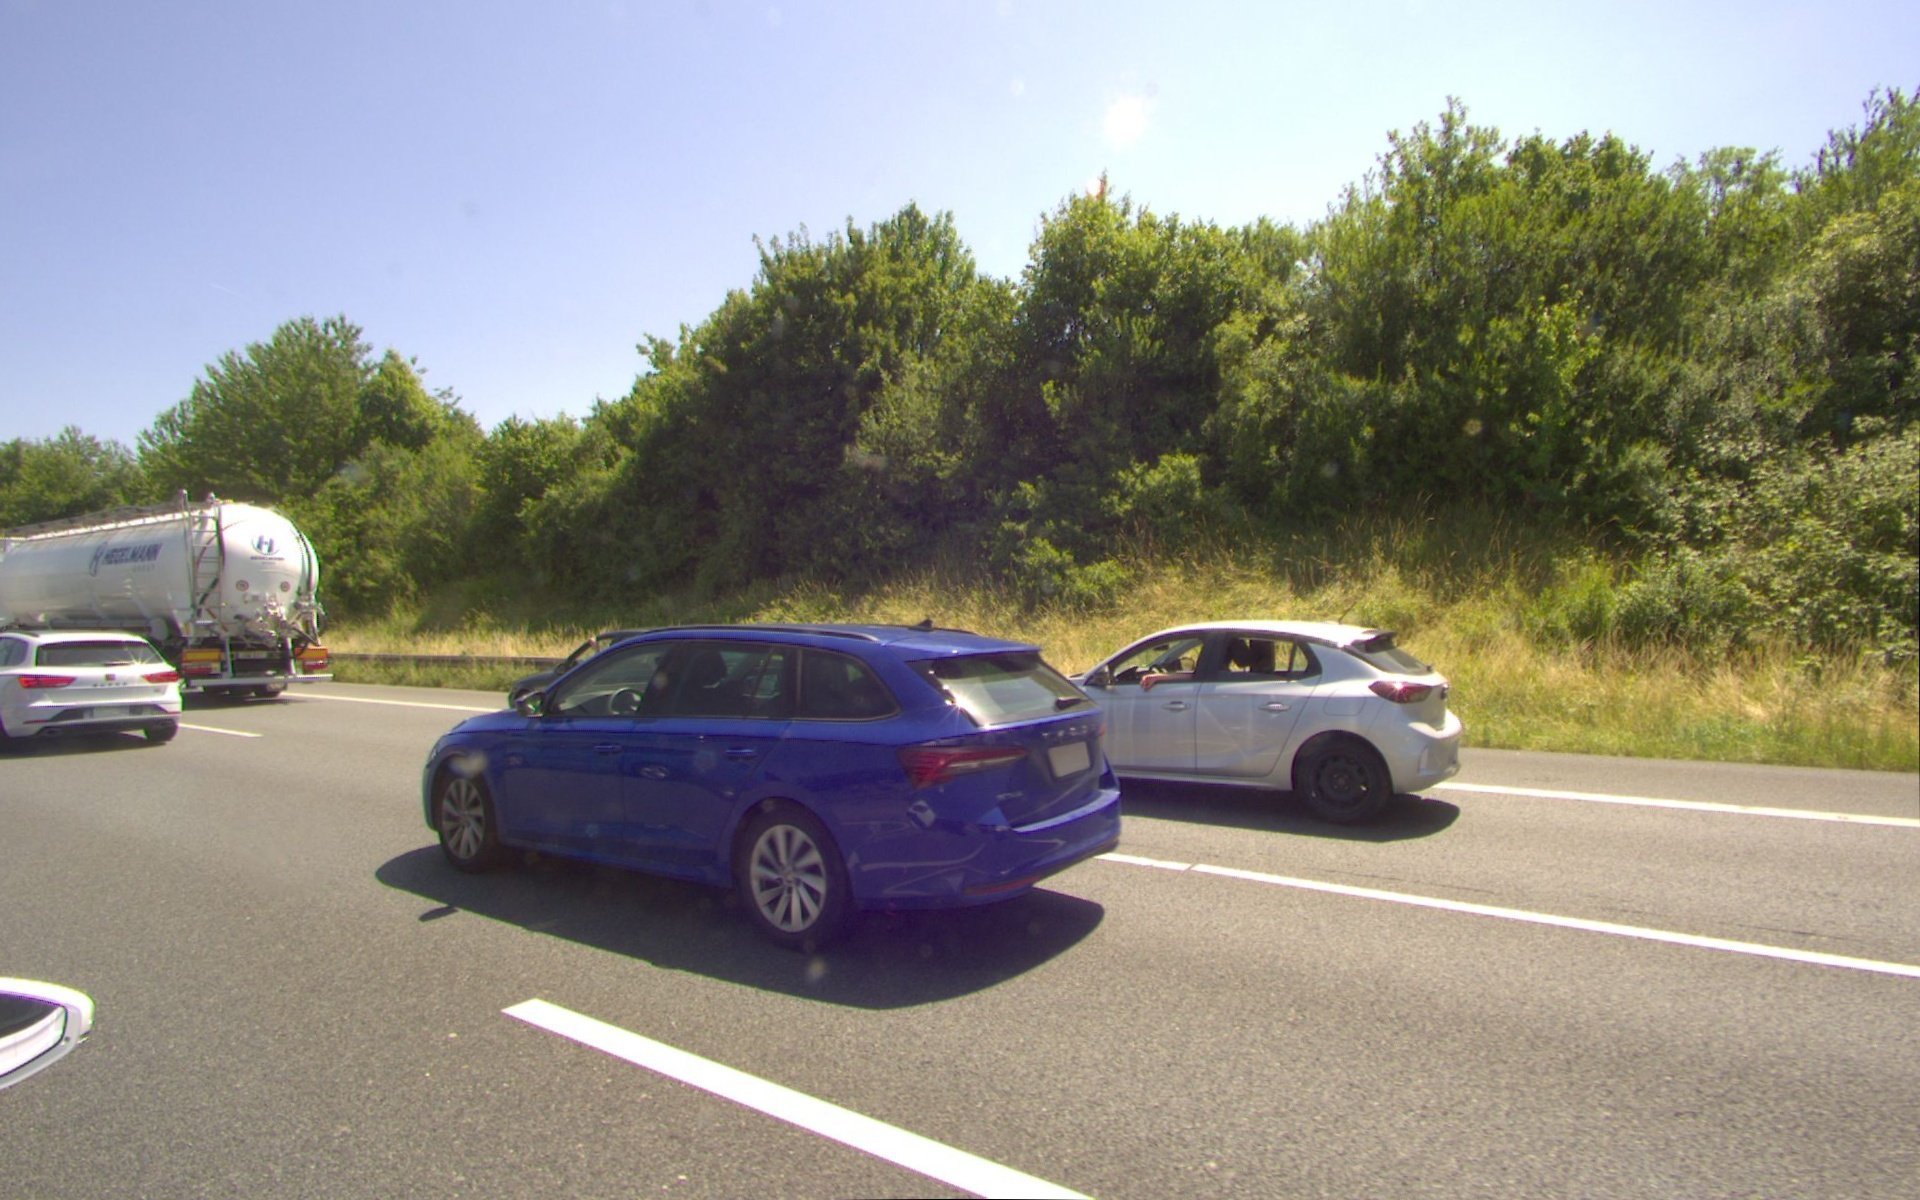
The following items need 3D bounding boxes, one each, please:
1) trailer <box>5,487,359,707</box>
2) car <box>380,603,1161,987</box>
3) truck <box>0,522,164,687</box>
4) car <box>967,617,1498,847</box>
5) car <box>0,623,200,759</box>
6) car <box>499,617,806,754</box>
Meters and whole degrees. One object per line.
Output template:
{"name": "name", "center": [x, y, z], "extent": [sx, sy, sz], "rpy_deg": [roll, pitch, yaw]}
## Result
{"name": "trailer", "center": [-17.478, 0.032, 22.032], "extent": [11.328, 3.895, 2.754], "rpy_deg": [-1, 0, 34]}
{"name": "car", "center": [-1.304, 0.812, 5.834], "extent": [4.510, 1.435, 1.771], "rpy_deg": [-2, 0, 34]}
{"name": "truck", "center": [-23.617, 0.146, 26.228], "extent": [5.495, 3.887, 2.785], "rpy_deg": [-1, 0, 34]}
{"name": "car", "center": [2.177, 0.893, 8.385], "extent": [3.973, 1.462, 1.726], "rpy_deg": [0, 0, 34]}
{"name": "car", "center": [-11.772, 1.087, 13.059], "extent": [4.256, 1.462, 1.742], "rpy_deg": [-2, -1, 35]}
{"name": "car", "center": [-3.968, 0.995, 12.709], "extent": [3.936, 1.435, 1.636], "rpy_deg": [-2, 0, 35]}
